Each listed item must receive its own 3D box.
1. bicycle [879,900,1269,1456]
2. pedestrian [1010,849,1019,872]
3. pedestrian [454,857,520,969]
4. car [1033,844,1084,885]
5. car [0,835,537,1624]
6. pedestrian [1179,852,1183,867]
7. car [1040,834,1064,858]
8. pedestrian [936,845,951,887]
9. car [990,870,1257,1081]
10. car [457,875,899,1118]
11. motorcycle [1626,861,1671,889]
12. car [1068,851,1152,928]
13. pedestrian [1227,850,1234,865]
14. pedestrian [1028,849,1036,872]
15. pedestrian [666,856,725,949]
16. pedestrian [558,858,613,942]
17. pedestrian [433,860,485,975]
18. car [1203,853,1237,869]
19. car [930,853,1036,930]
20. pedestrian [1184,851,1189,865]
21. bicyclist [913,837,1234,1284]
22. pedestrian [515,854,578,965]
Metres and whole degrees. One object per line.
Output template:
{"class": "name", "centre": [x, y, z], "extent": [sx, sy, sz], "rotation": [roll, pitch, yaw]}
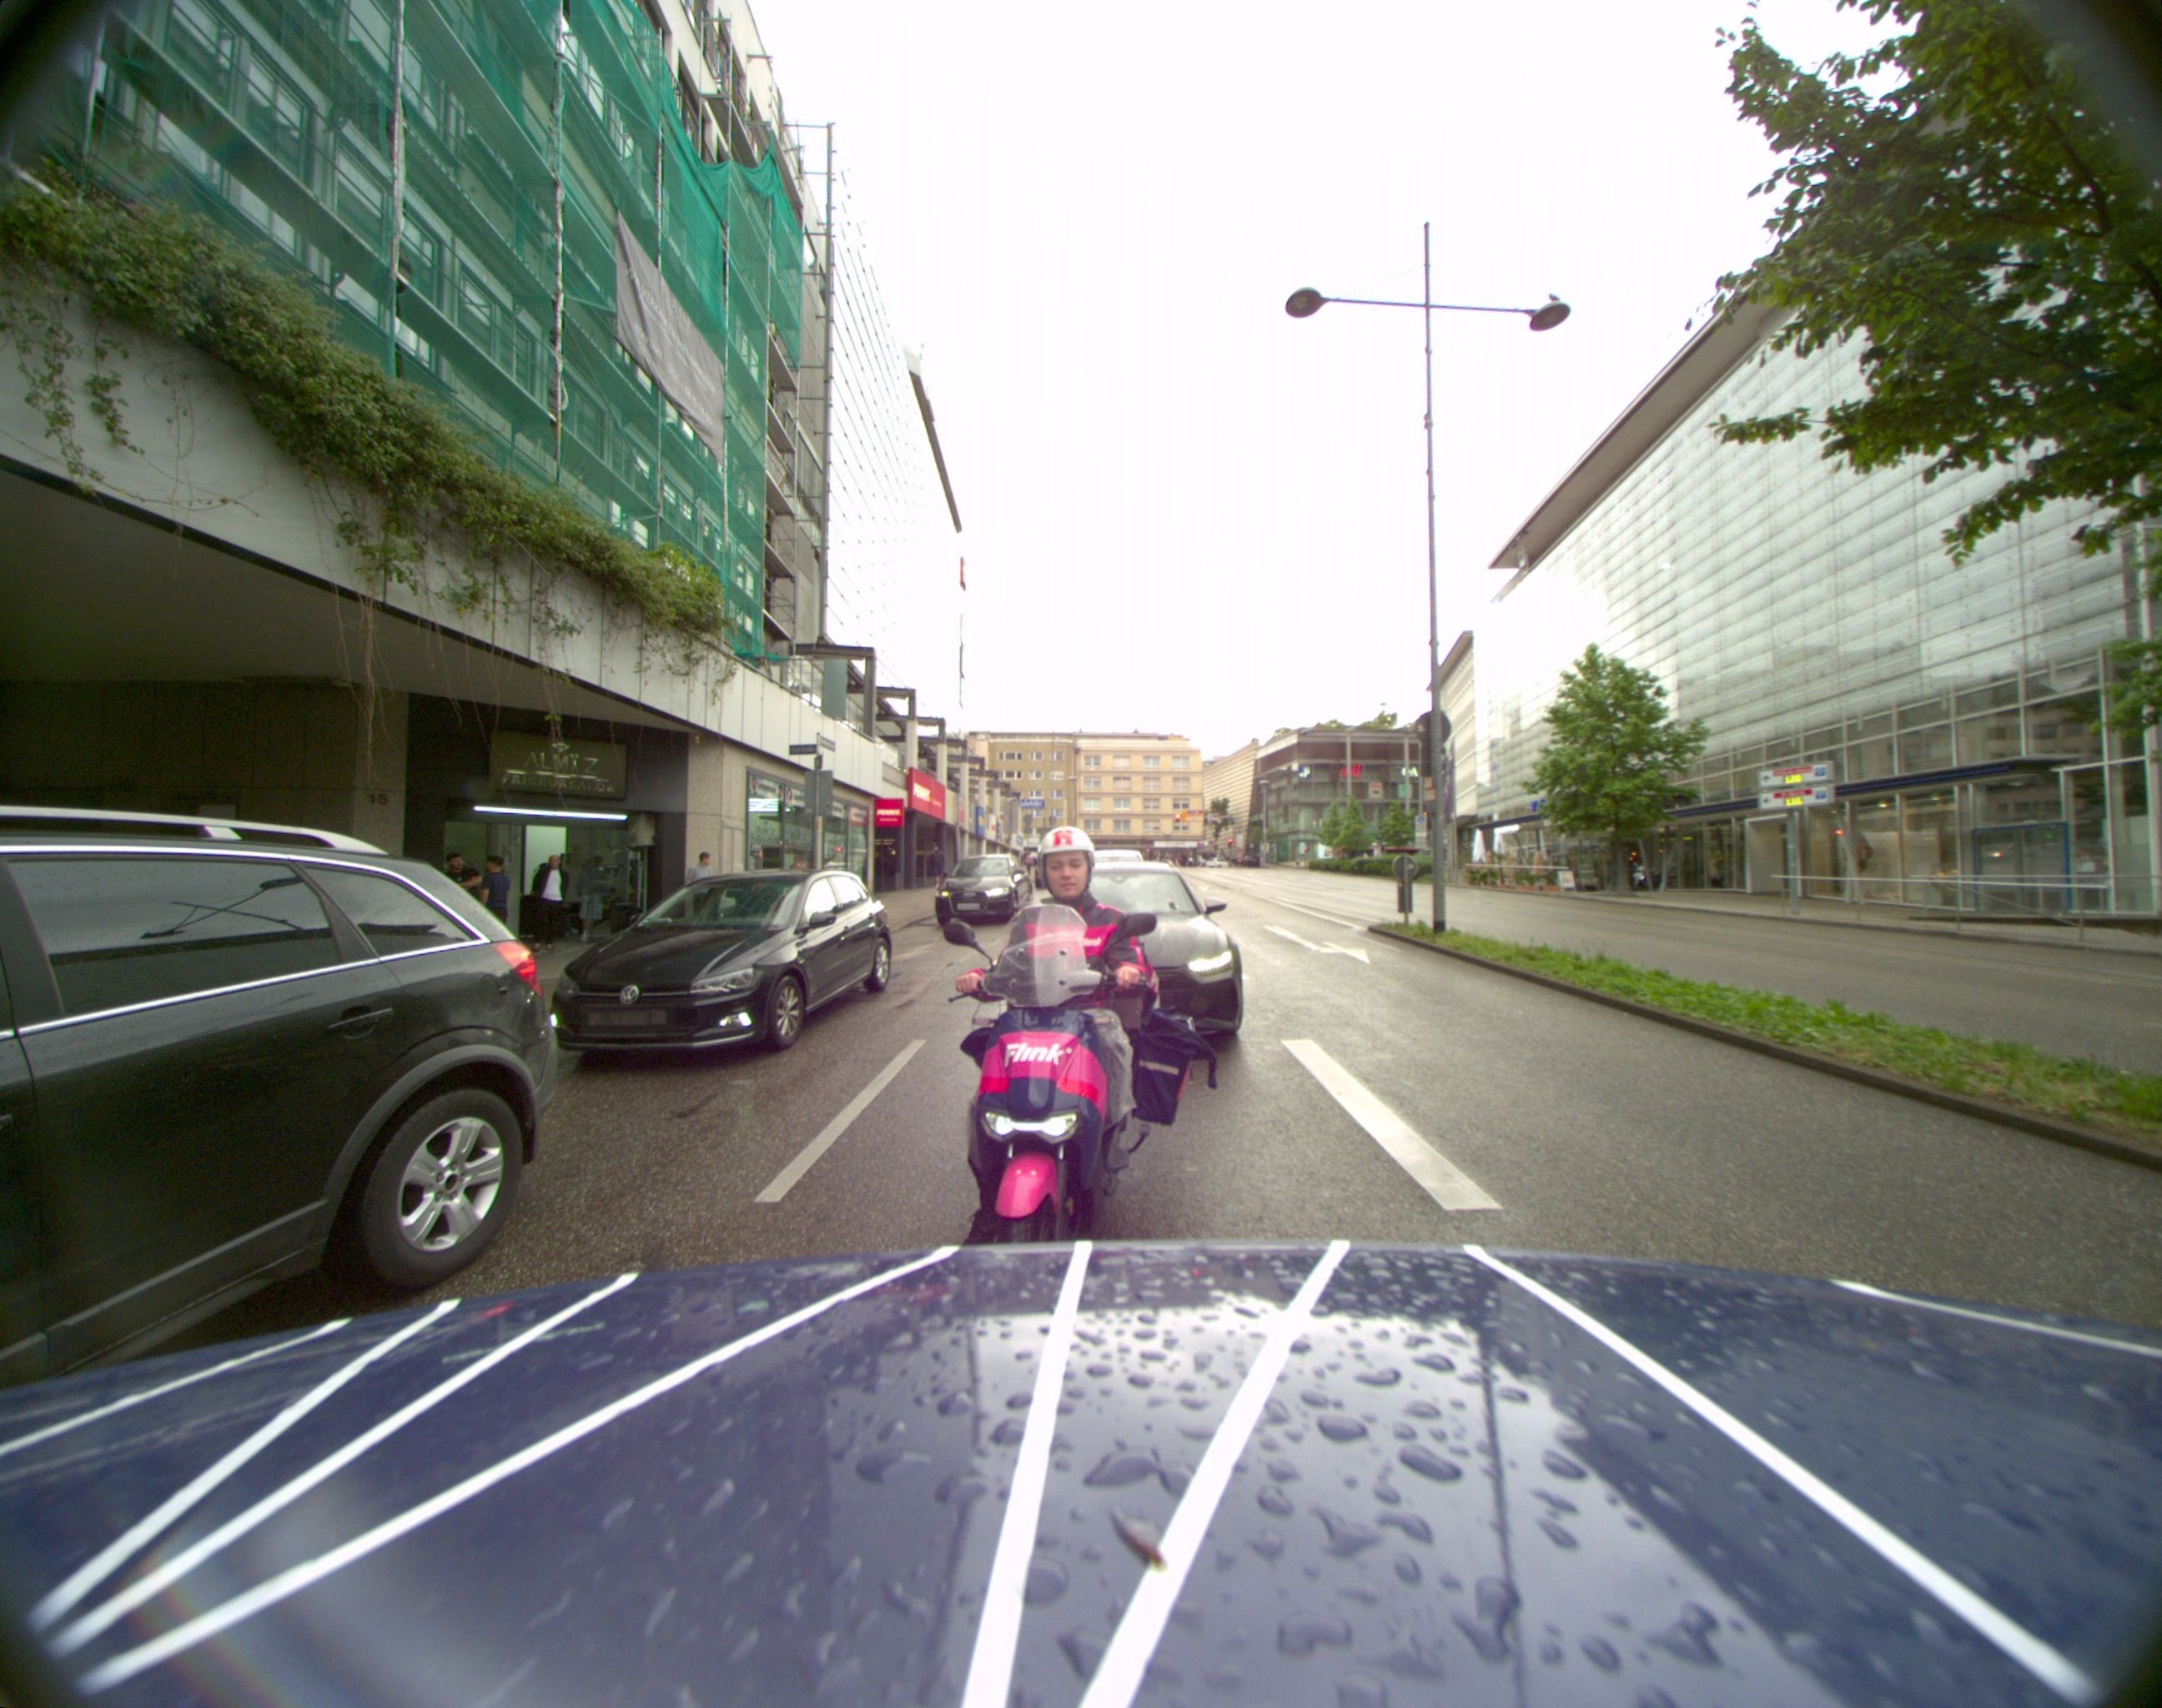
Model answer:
{"class": "bicycle", "centre": [0.000, 0.993, 3.572], "extent": [1.034, 1.279, 2.948], "rotation": [-2, 1, 1]}
{"class": "pedestrian", "centre": [-4.245, 0.406, 48.525], "extent": [0.510, 1.492, 0.579], "rotation": [0, 2, 0]}
{"class": "pedestrian", "centre": [-8.832, 0.858, 11.323], "extent": [0.640, 1.586, 0.576], "rotation": [-3, 2, -32]}
{"class": "car", "centre": [-0.956, 0.457, 34.814], "extent": [1.988, 1.696, 4.165], "rotation": [-2, -1, 2]}
{"class": "car", "centre": [-3.319, 0.858, 1.238], "extent": [1.764, 1.755, 4.164], "rotation": [-2, -1, 1]}
{"class": "pedestrian", "centre": [11.257, 0.609, 85.271], "extent": [0.428, 1.620, 0.602], "rotation": [1, 1, 5]}
{"class": "car", "centre": [-2.537, -0.720, 67.295], "extent": [1.605, 2.002, 3.400], "rotation": [-2, 1, 7]}
{"class": "pedestrian", "centre": [-5.532, 0.488, 30.522], "extent": [0.510, 1.669, 0.579], "rotation": [0, 2, 0]}
{"class": "car", "centre": [0.394, 0.930, 7.581], "extent": [1.890, 1.392, 4.164], "rotation": [-2, 0, 2]}
{"class": "car", "centre": [-3.195, 1.012, 7.145], "extent": [1.759, 1.495, 4.165], "rotation": [-2, -1, 2]}
{"class": "motorcycle", "centre": [27.825, 1.032, 37.274], "extent": [1.707, 1.319, 0.620], "rotation": [0, 1, 1]}
{"class": "car", "centre": [0.681, 0.745, 17.571], "extent": [1.675, 1.520, 4.165], "rotation": [-2, -1, 2]}
{"class": "pedestrian", "centre": [16.957, 0.390, 86.352], "extent": [0.626, 1.764, 0.689], "rotation": [-2, 2, 5]}
{"class": "pedestrian", "centre": [-3.145, 0.408, 48.729], "extent": [0.510, 1.492, 0.579], "rotation": [0, 2, 0]}
{"class": "pedestrian", "centre": [-7.091, 0.873, 14.002], "extent": [0.639, 1.633, 0.733], "rotation": [-2, 2, -3]}
{"class": "pedestrian", "centre": [-9.861, 0.898, 15.140], "extent": [0.676, 1.618, 0.580], "rotation": [0, 2, 7]}
{"class": "pedestrian", "centre": [-9.587, 0.957, 11.716], "extent": [0.466, 1.698, 0.484], "rotation": [0, 2, 42]}
{"class": "car", "centre": [18.539, 0.924, 101.115], "extent": [4.597, 2.002, 1.994], "rotation": [0, 1, -43]}
{"class": "car", "centre": [-2.245, 0.812, 18.596], "extent": [1.841, 1.598, 4.164], "rotation": [-2, 1, 2]}
{"class": "pedestrian", "centre": [12.083, 0.494, 86.990], "extent": [0.428, 1.620, 0.602], "rotation": [1, 1, 3]}
{"class": "bicyclist", "centre": [-0.019, 0.718, 3.052], "extent": [1.063, 1.534, 0.825], "rotation": [-2, 2, 0]}
{"class": "pedestrian", "centre": [-9.152, 0.909, 13.007], "extent": [0.771, 1.805, 0.745], "rotation": [2, 2, 44]}
